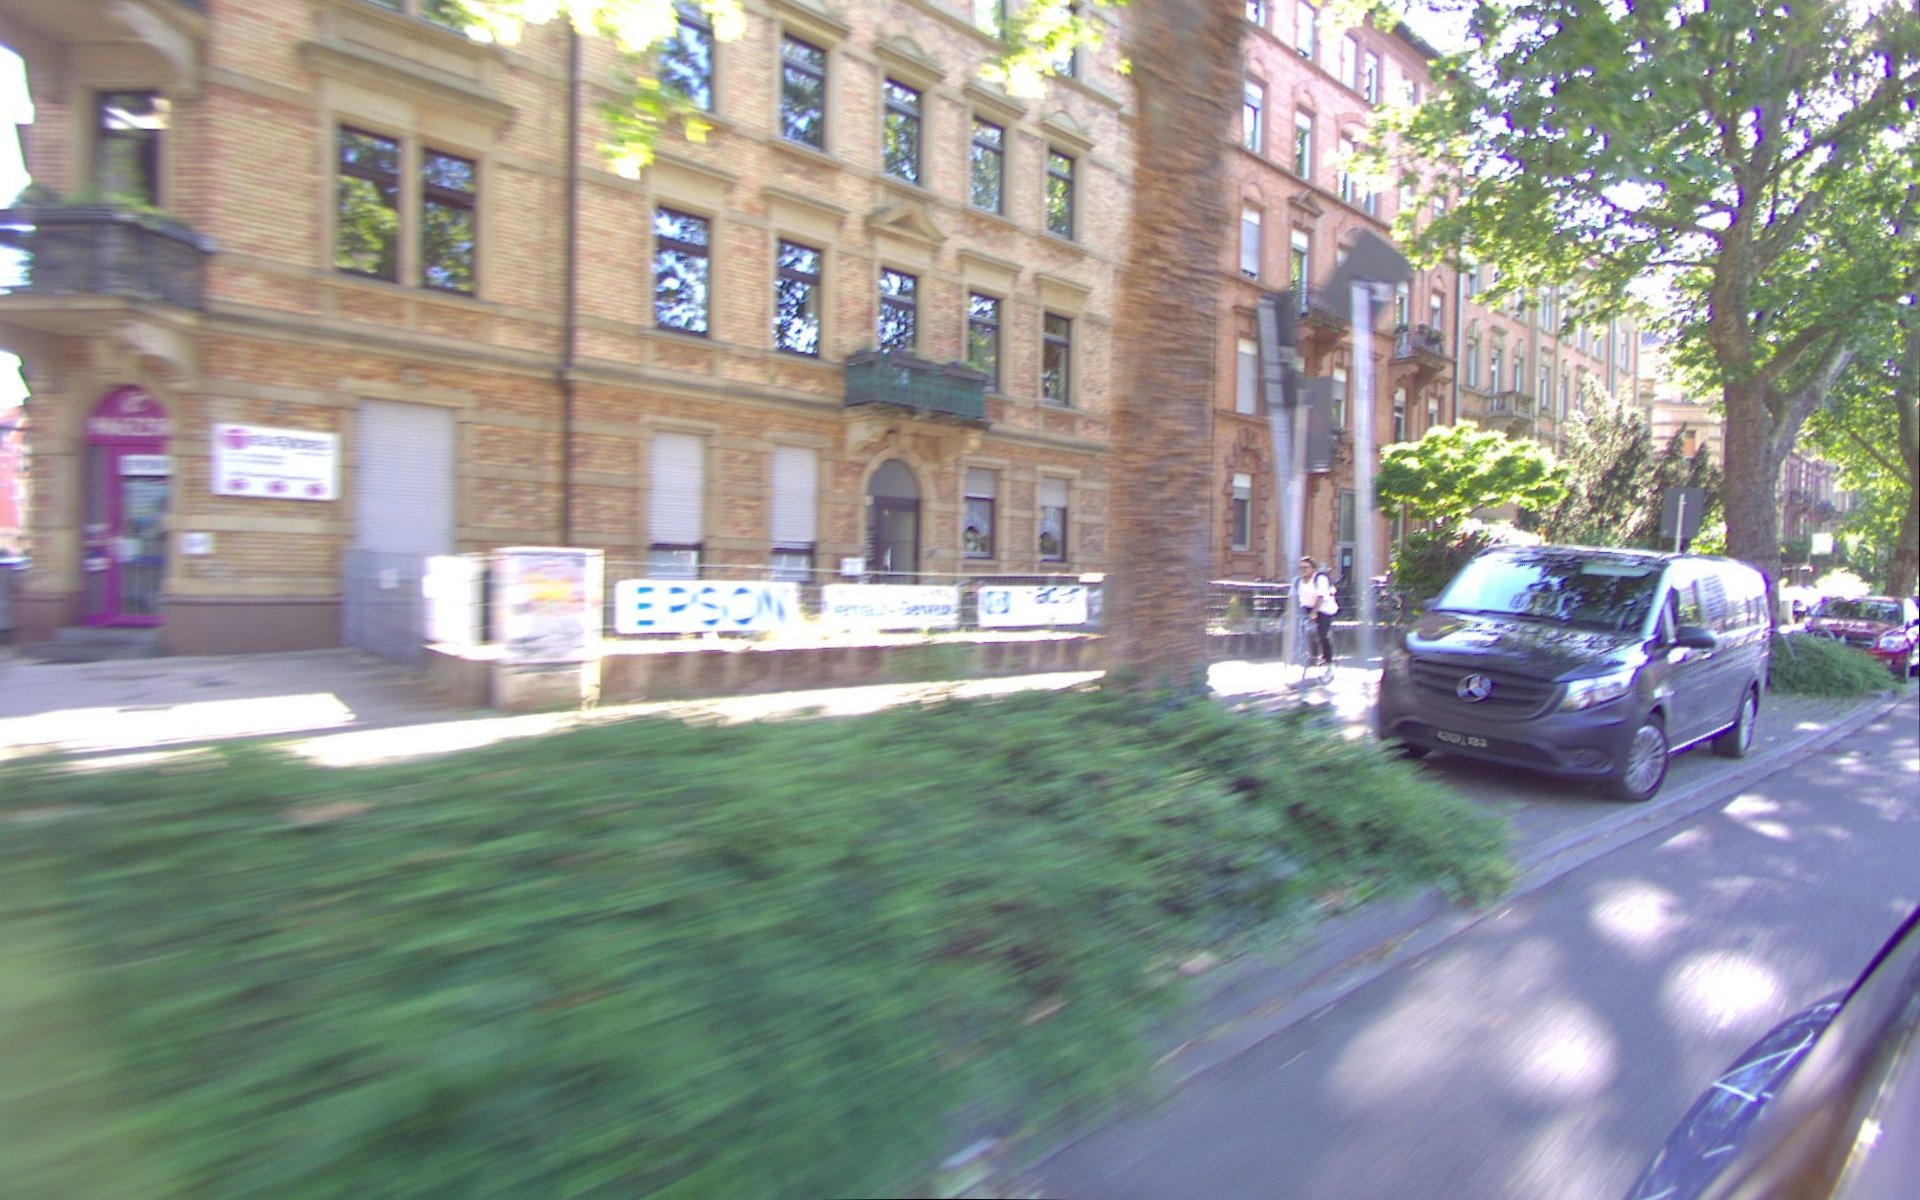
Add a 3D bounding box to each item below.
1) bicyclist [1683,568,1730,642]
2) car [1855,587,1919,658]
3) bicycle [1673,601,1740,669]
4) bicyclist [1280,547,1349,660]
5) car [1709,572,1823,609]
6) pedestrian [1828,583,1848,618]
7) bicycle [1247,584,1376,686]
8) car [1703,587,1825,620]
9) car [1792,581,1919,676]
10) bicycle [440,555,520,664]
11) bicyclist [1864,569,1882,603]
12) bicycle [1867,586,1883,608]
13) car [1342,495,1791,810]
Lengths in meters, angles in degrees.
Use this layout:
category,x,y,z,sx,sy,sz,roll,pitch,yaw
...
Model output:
category,x,y,z,sx,sy,sz,roll,pitch,yaw
bicyclist,14.421,0.084,19.551,0.633,1.397,0.570,0,2,-41
car,22.222,0.486,23.462,3.932,1.480,1.717,-1,3,-42
bicycle,14.431,0.646,19.554,2.188,1.192,0.562,-1,4,-42
bicyclist,4.540,0.033,12.962,0.633,1.397,0.543,2,1,-42
car,43.531,-0.526,54.725,1.874,1.869,4.556,0,2,-41
pedestrian,40.434,0.022,46.606,0.597,1.569,0.540,4,0,-42
bicycle,4.547,0.404,12.995,2.188,1.193,0.561,0,2,-43
car,40.340,0.208,50.884,1.875,1.559,4.552,0,-1,-42
car,17.748,0.461,19.627,4.422,1.567,1.718,-1,4,-41
bicycle,-5.584,0.070,11.716,0.467,1.168,1.868,0,2,-37
bicyclist,44.870,-0.702,49.737,0.543,1.645,0.634,4,2,44
bicycle,45.128,-0.147,49.922,0.560,1.051,1.904,0,-1,41
car,5.619,0.306,9.015,5.113,2.038,1.997,1,2,-43
